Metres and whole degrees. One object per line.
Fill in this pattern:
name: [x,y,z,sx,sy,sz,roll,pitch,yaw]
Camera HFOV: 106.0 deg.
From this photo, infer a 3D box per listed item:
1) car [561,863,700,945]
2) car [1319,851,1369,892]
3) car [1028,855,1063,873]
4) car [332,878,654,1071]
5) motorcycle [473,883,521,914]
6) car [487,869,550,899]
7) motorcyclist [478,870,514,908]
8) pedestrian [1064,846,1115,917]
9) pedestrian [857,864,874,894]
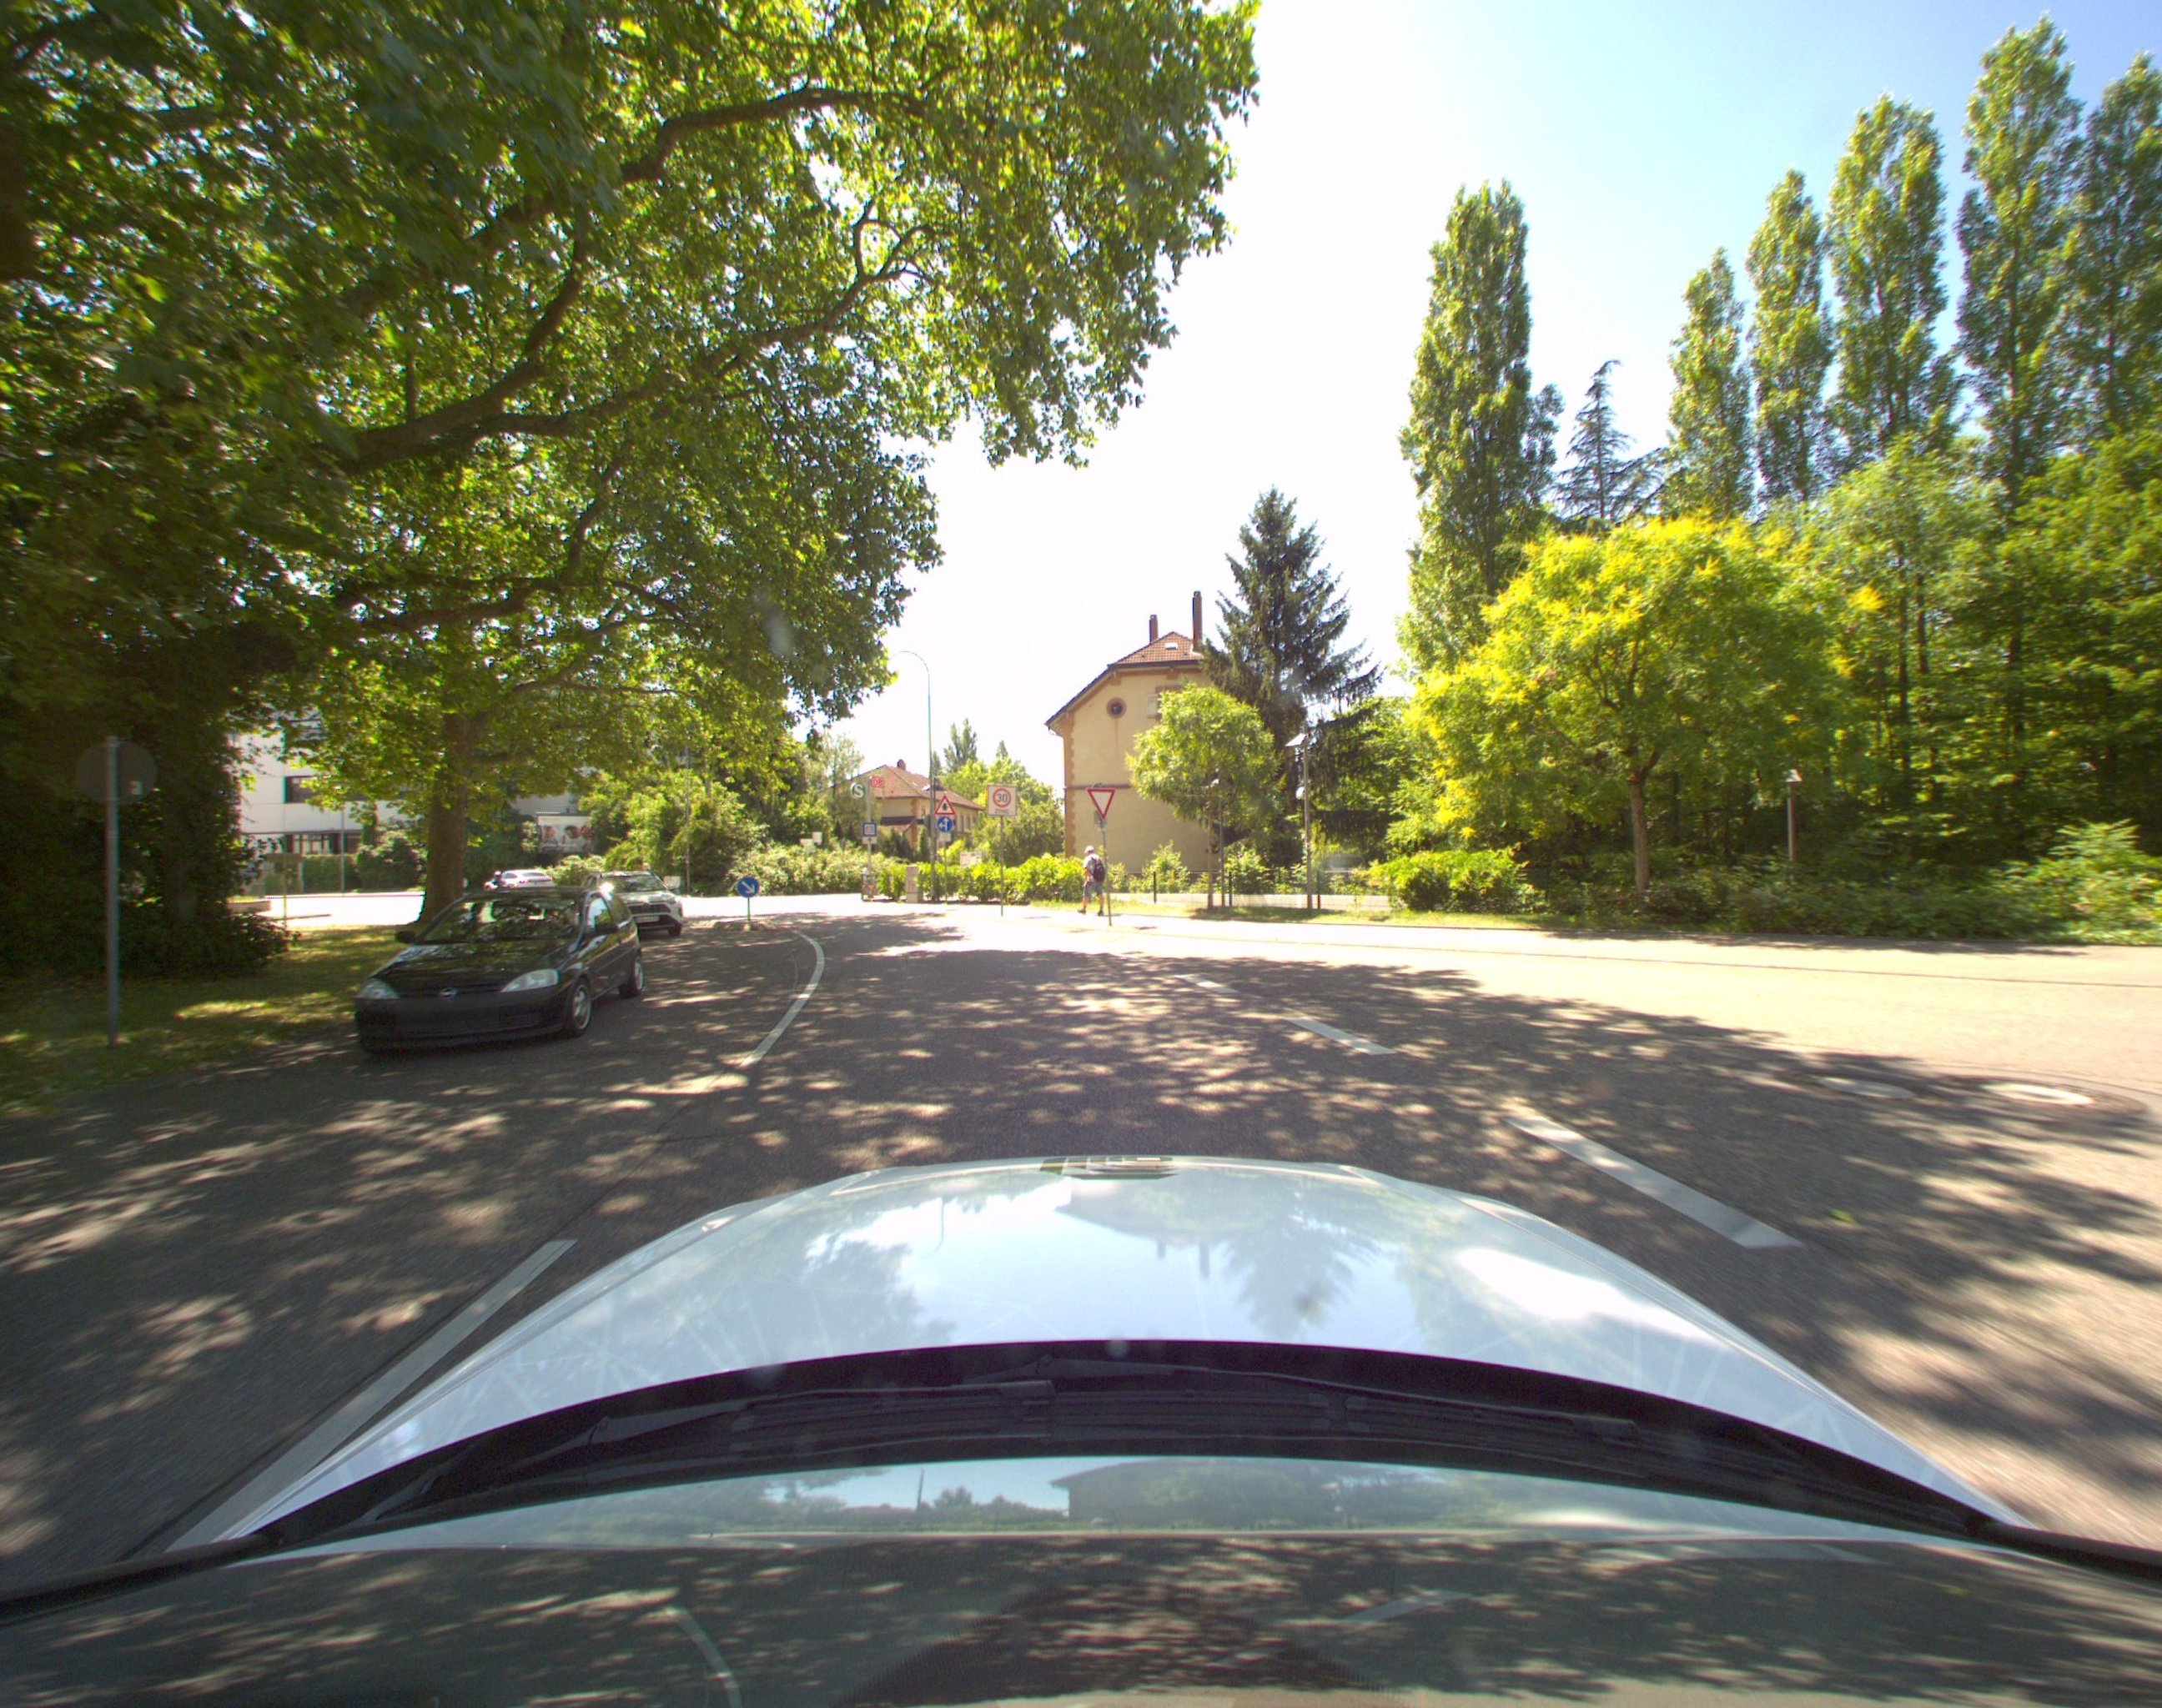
car: [-11.471,1.192,20.597,2.061,1.747,4.270,-3,0,-43]
car: [10.699,0.695,33.306,1.638,1.536,3.984,-1,-1,14]
car: [-4.833,1.367,111.389,4.414,2.322,2.209,-1,-1,12]
car: [-5.880,1.035,8.737,1.646,1.417,3.974,-2,0,-19]
motorcycle: [-24.426,1.838,34.044,2.024,1.231,0.815,-2,-1,29]
car: [-32.018,1.703,46.311,4.415,1.615,1.954,-2,-5,43]
motorcyclist: [-24.467,1.461,34.061,1.090,1.555,0.815,-2,-1,29]
pedestrian: [0.225,0.702,21.549,0.918,1.771,0.906,-4,1,-30]
pedestrian: [-11.858,1.363,44.891,0.691,1.627,0.621,0,0,42]
